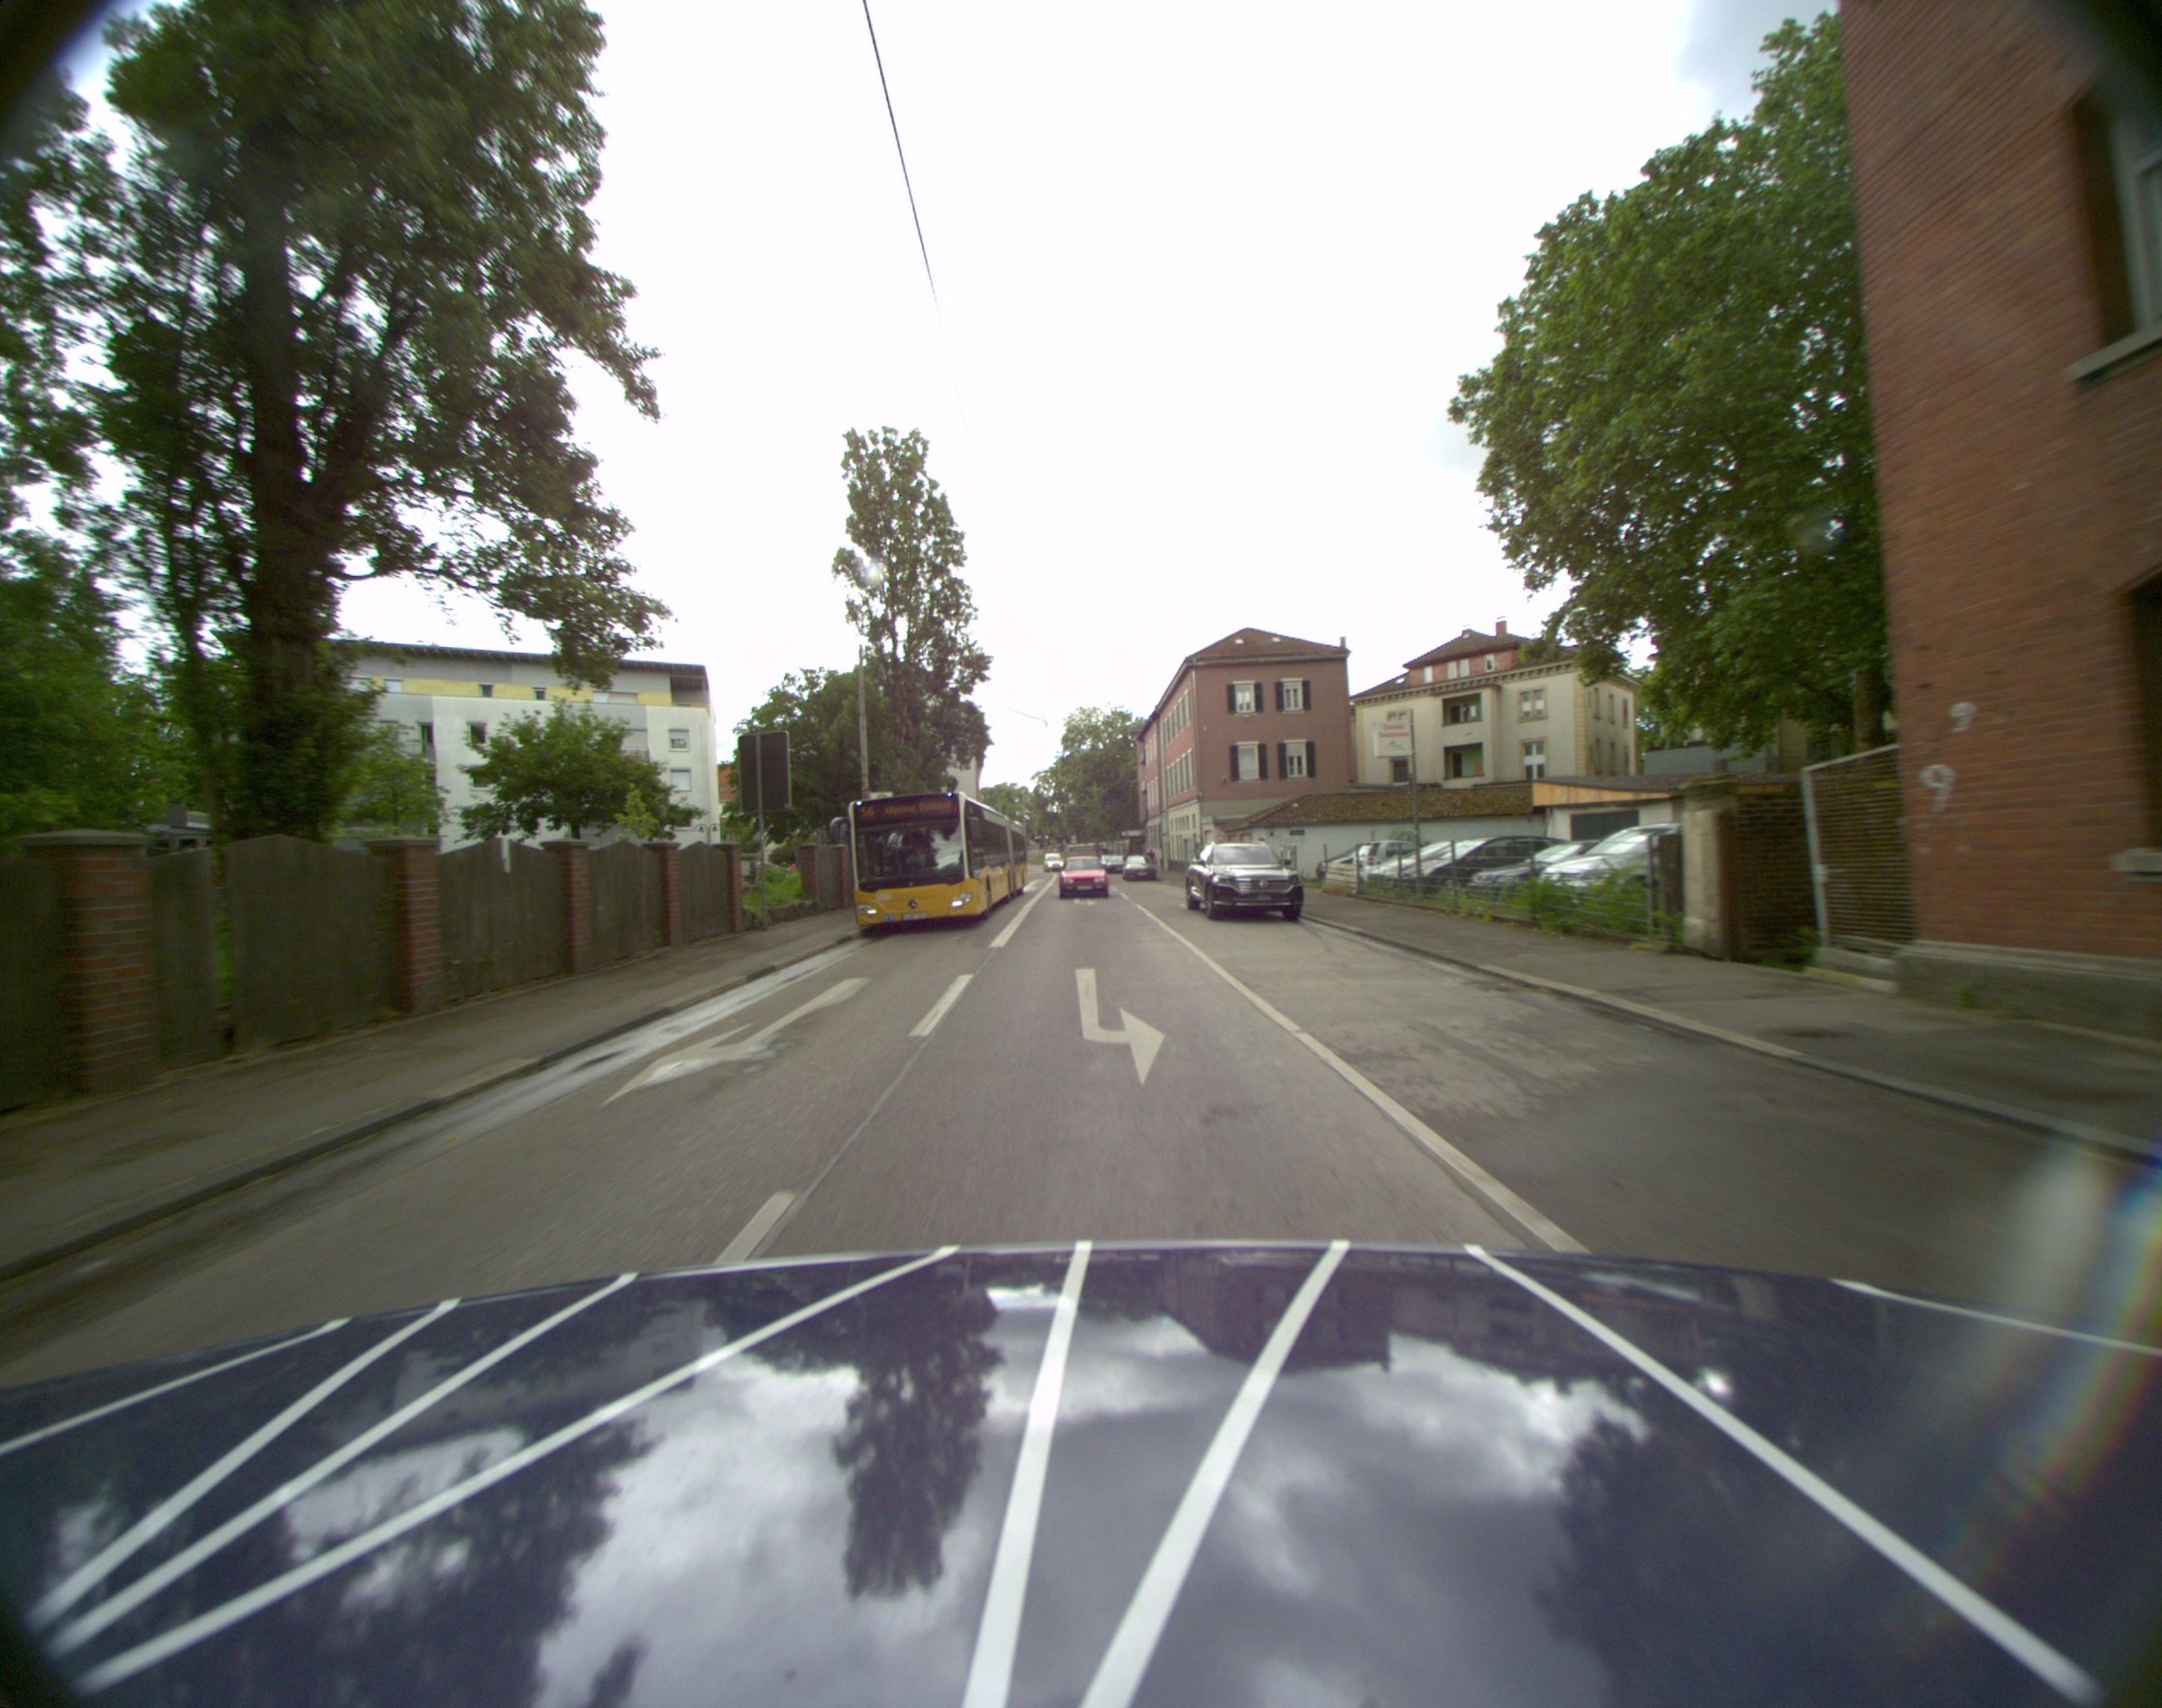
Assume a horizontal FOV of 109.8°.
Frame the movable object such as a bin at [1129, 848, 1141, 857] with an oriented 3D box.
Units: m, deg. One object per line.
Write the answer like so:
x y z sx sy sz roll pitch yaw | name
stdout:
6.154 -0.154 86.248 0.674 0.959 1.076 -9 3 -44 | movable object such as a bin

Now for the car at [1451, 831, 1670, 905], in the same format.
9.947 0.273 15.936 3.605 1.406 1.547 -1 1 0 | car

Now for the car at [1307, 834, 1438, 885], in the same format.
9.993 0.179 26.259 3.772 1.633 1.853 -1 1 0 | car

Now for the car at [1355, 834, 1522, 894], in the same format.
9.779 0.262 21.013 3.732 1.496 1.853 -1 1 0 | car

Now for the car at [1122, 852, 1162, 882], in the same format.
3.514 0.719 44.752 1.883 1.477 4.126 -5 1 0 | car

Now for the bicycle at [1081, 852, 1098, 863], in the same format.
0.976 0.424 87.277 1.875 1.107 0.577 -5 2 -4 | bicycle

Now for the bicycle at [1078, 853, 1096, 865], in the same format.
0.626 0.539 85.675 1.809 1.170 0.723 -5 2 -25 | bicycle

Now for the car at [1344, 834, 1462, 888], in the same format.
9.958 0.214 23.653 2.854 1.556 1.853 -1 1 0 | car

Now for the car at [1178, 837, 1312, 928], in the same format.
3.590 0.574 17.574 1.959 1.723 4.773 -3 0 0 | car

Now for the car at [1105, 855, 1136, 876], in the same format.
3.117 0.880 61.275 1.834 1.446 4.918 -3 1 -4 | car

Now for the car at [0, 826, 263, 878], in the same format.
-33.412 -0.119 26.930 5.566 1.581 1.995 -2 3 -24 | car

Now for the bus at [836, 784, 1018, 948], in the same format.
-3.501 0.234 20.034 2.678 3.120 9.216 -5 0 0 | bus

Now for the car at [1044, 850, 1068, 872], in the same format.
-2.547 0.695 77.199 2.073 1.776 4.453 -5 4 -4 | car

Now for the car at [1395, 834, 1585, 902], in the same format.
9.811 0.324 18.447 3.605 1.496 1.853 -1 1 0 | car

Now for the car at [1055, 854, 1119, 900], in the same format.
0.125 0.766 26.810 1.851 1.414 4.171 -2 0 -5 | car

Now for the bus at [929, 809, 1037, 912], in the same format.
-3.484 0.200 29.670 2.669 3.118 10.039 -5 0 0 | bus

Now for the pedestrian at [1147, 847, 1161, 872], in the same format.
5.317 0.414 55.472 0.763 1.733 0.984 -5 0 -3 | pedestrian

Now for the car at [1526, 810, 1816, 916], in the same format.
9.852 0.137 12.895 3.605 1.603 1.688 -1 1 0 | car
